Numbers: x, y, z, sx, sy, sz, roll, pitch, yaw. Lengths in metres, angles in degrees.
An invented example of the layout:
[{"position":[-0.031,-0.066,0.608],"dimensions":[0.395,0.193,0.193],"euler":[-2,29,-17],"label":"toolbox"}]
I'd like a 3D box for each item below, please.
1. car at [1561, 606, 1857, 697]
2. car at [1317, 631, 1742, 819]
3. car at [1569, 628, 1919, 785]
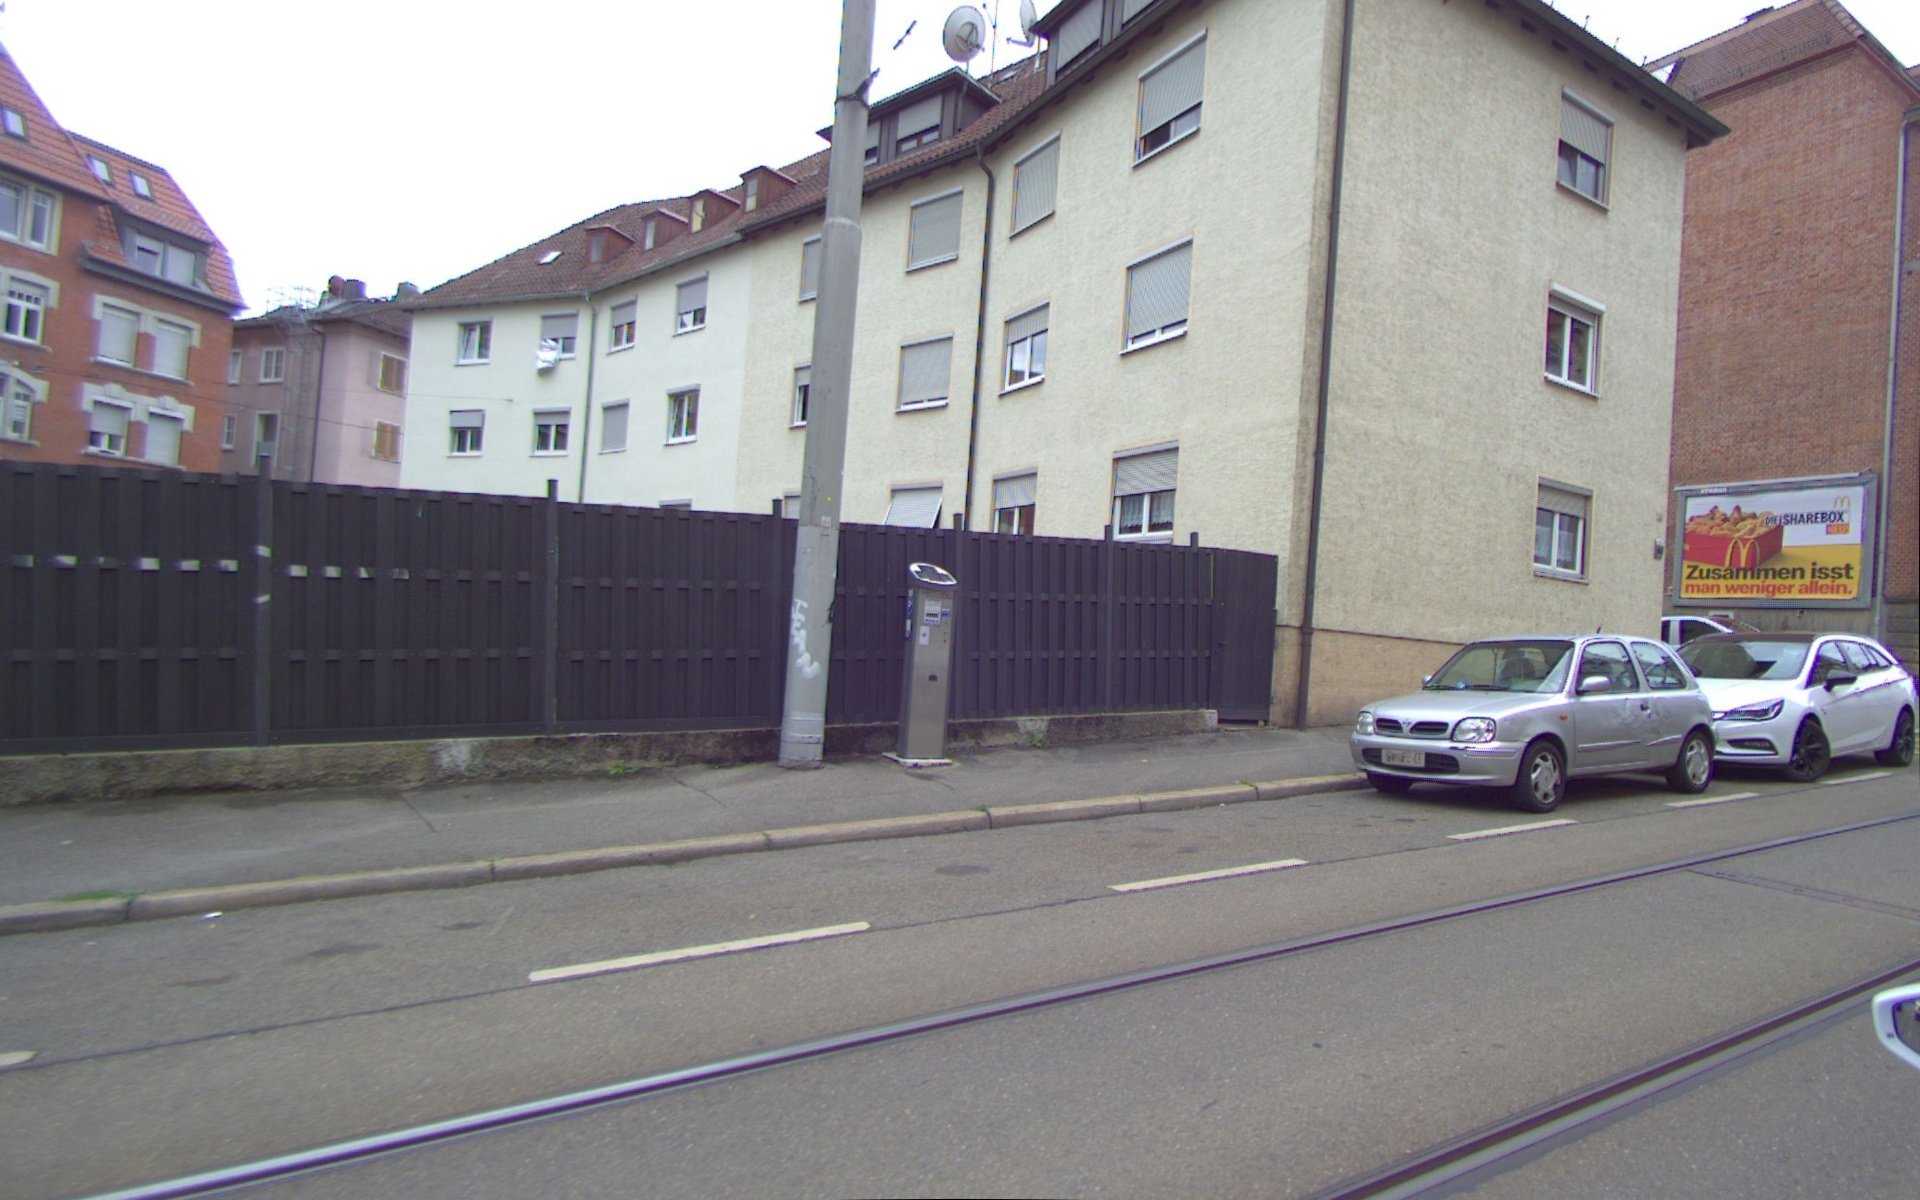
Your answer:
[{"position":[17.043,1.146,23.183],"dimensions":[1.920,1.842,5.144],"euler":[1,-2,-33],"label":"car"},{"position":[5.165,1.001,9.048],"dimensions":[3.761,1.386,1.594],"euler":[1,-4,-29],"label":"car"},{"position":[8.994,1.081,11.283],"dimensions":[4.576,1.447,1.818],"euler":[1,-4,-32],"label":"car"}]
